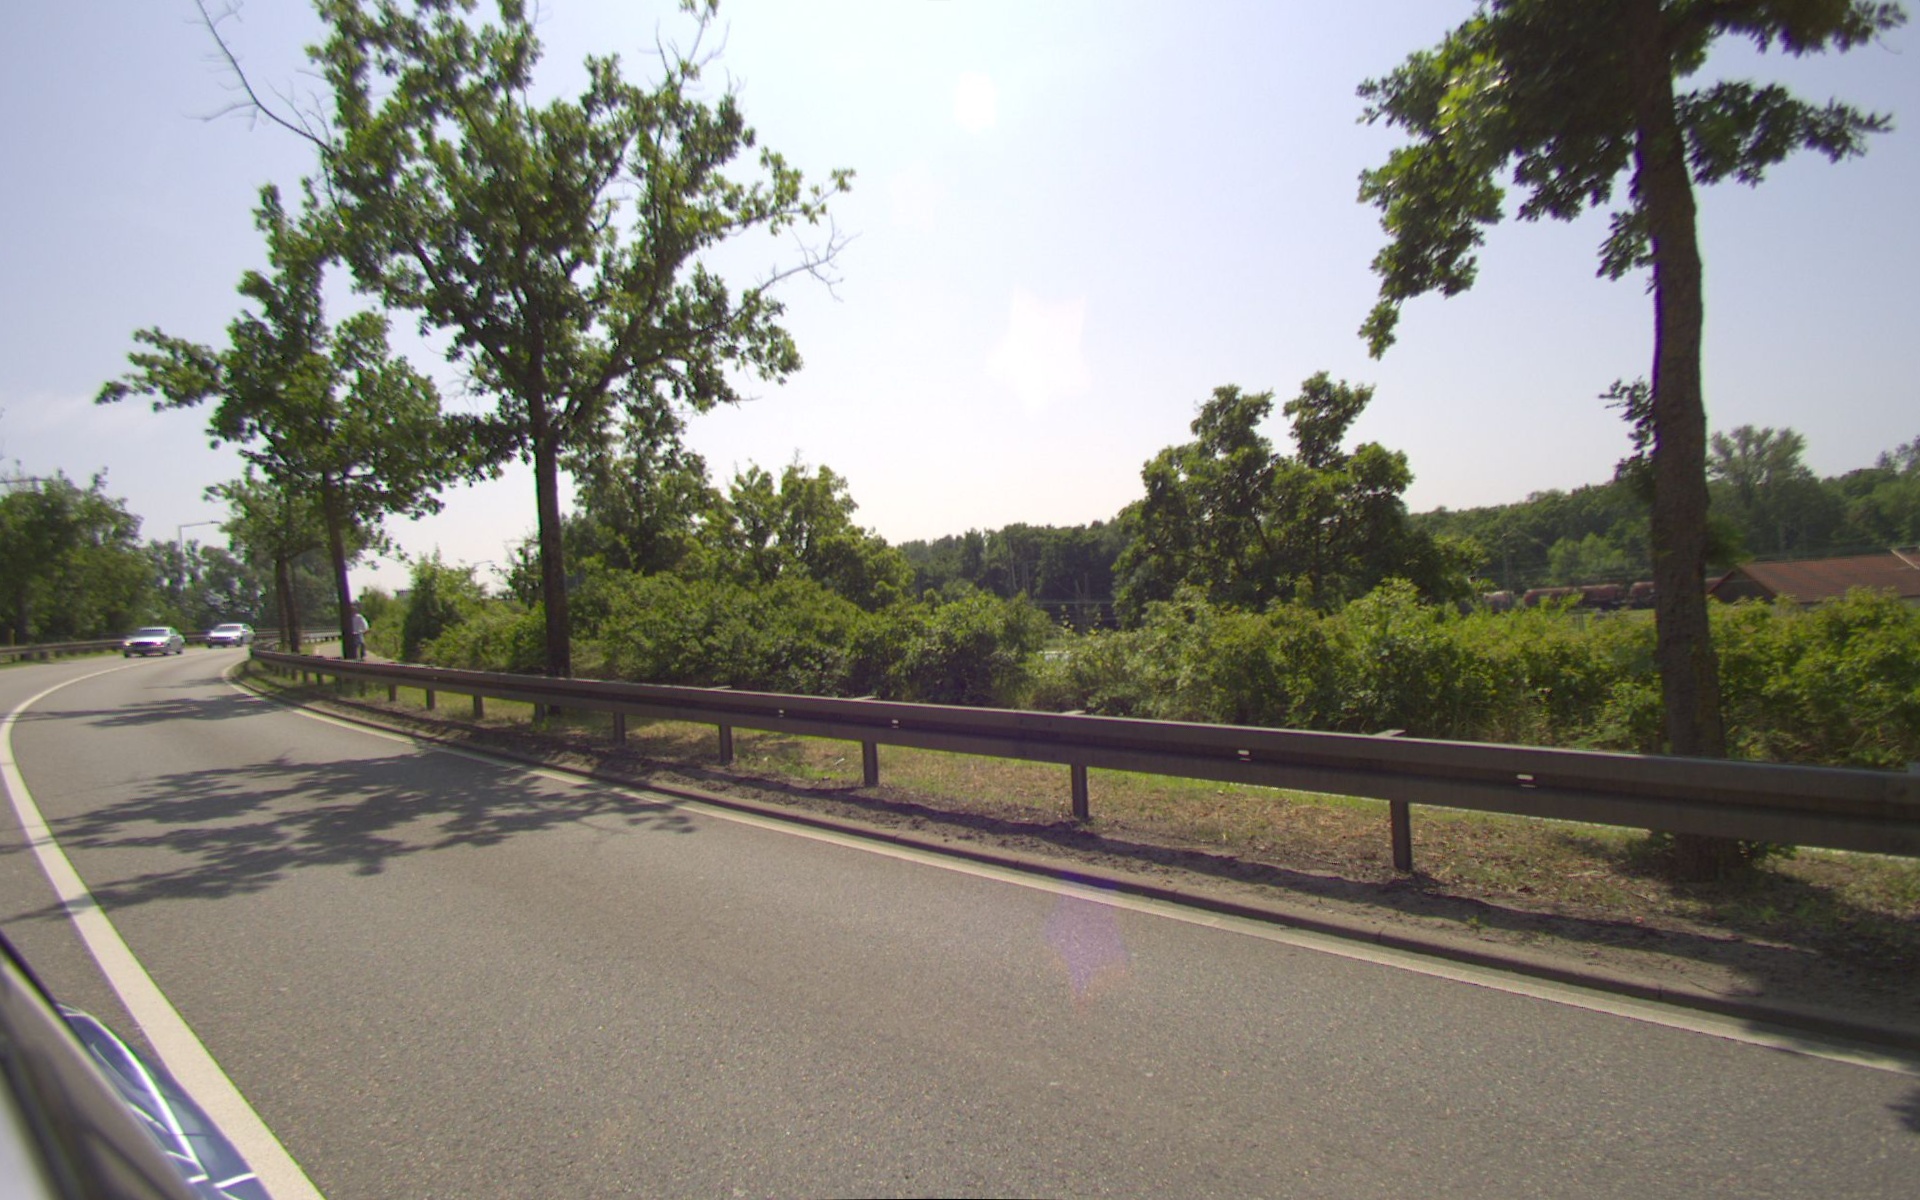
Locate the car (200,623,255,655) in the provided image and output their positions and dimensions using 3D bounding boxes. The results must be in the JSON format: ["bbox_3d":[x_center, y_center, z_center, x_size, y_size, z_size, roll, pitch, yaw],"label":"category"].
[{"bbox_3d":[-46.126,2.407,63.827,1.769,1.796,4.307,-2,0,-21],"label":"car"}]

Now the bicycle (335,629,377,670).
[{"bbox_3d":[-17.338,1.409,29.023,0.725,1.125,2.050,1,-2,-39],"label":"bicycle"}]

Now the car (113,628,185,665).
[{"bbox_3d":[-39.725,2.257,49.648,1.734,1.510,4.248,-2,1,-25],"label":"car"}]

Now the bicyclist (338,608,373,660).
[{"bbox_3d":[-17.352,0.970,29.047,0.720,1.477,0.825,1,-2,-39],"label":"bicyclist"}]
